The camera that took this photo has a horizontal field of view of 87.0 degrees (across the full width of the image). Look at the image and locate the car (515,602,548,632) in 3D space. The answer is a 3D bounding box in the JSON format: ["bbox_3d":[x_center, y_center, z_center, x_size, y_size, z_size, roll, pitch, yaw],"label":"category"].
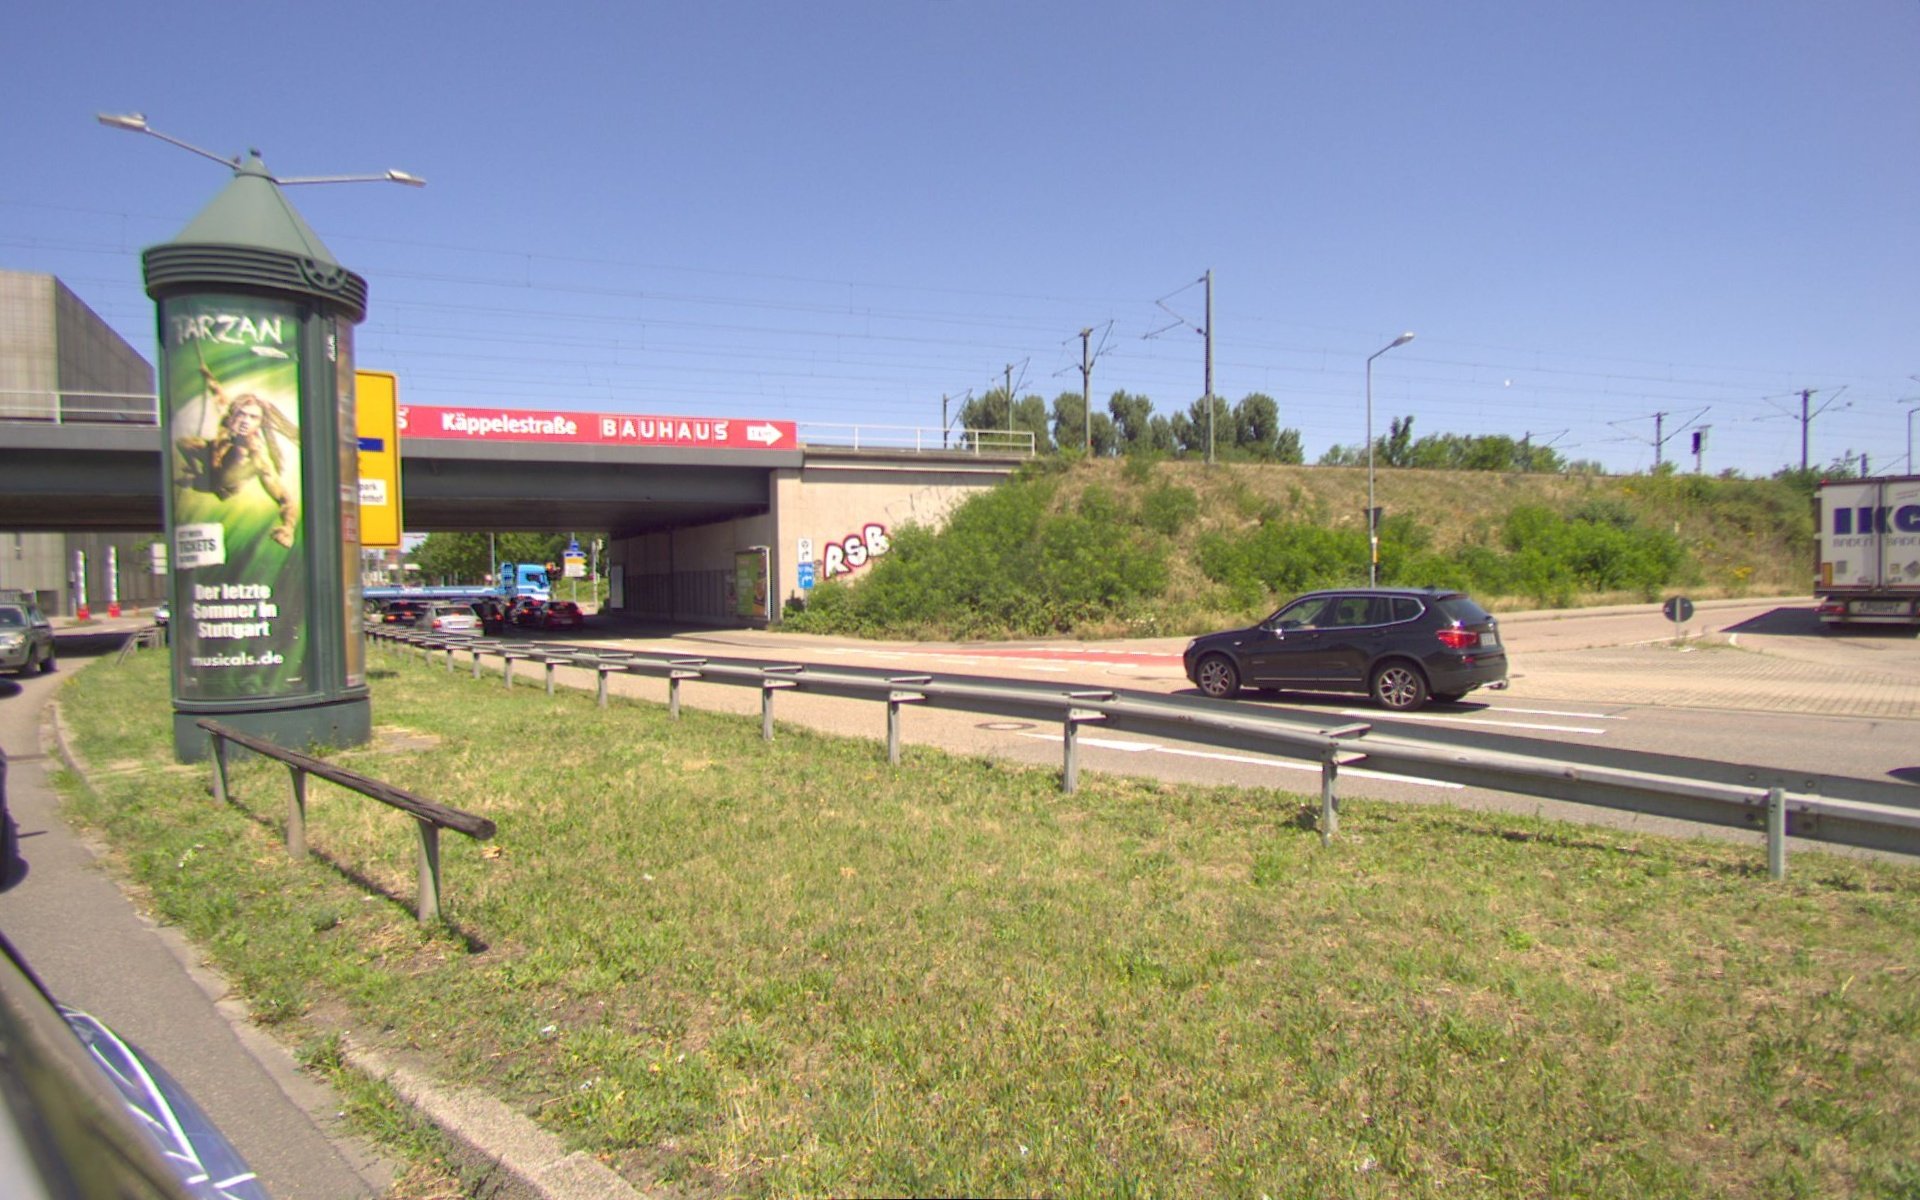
[{"bbox_3d":[-22.864,0.886,53.923,1.548,1.514,3.418,-1,0,-24],"label":"car"}]

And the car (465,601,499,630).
[{"bbox_3d":[-25.724,0.791,54.515,1.592,1.487,3.444,-1,0,-24],"label":"car"}]

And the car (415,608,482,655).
[{"bbox_3d":[-16.837,0.998,33.214,1.612,1.413,4.234,1,-1,-31],"label":"car"}]

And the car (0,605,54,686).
[{"bbox_3d":[-21.730,0.991,22.679,1.817,1.708,3.707,-1,0,-37],"label":"car"}]

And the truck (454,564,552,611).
[{"bbox_3d":[-34.701,-0.964,77.062,6.454,3.443,3.032,-1,0,-17],"label":"truck"}]

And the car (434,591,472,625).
[{"bbox_3d":[-29.360,0.424,58.573,1.875,1.874,4.013,-1,0,-28],"label":"car"}]

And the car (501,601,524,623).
[{"bbox_3d":[-26.382,0.685,59.651,1.166,1.257,2.701,-1,0,-24],"label":"car"}]

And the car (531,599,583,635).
[{"bbox_3d":[-19.582,0.802,49.101,1.747,1.680,4.027,-1,0,-31],"label":"car"}]

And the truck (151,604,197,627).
[{"bbox_3d":[-54.515,1.072,70.244,1.702,1.513,4.013,-1,0,-26],"label":"truck"}]

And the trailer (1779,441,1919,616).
[{"bbox_3d":[26.394,-1.738,29.202,3.022,4.081,12.520,-3,-2,44],"label":"trailer"}]

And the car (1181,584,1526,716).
[{"bbox_3d":[5.557,0.669,14.786,1.471,1.645,4.477,-1,-1,-43],"label":"car"}]

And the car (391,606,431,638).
[{"bbox_3d":[-24.814,0.968,45.840,1.388,1.329,3.272,-1,0,-25],"label":"car"}]

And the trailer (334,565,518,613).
[{"bbox_3d":[-40.761,-0.815,77.235,13.748,3.398,2.954,-1,0,12],"label":"trailer"}]
